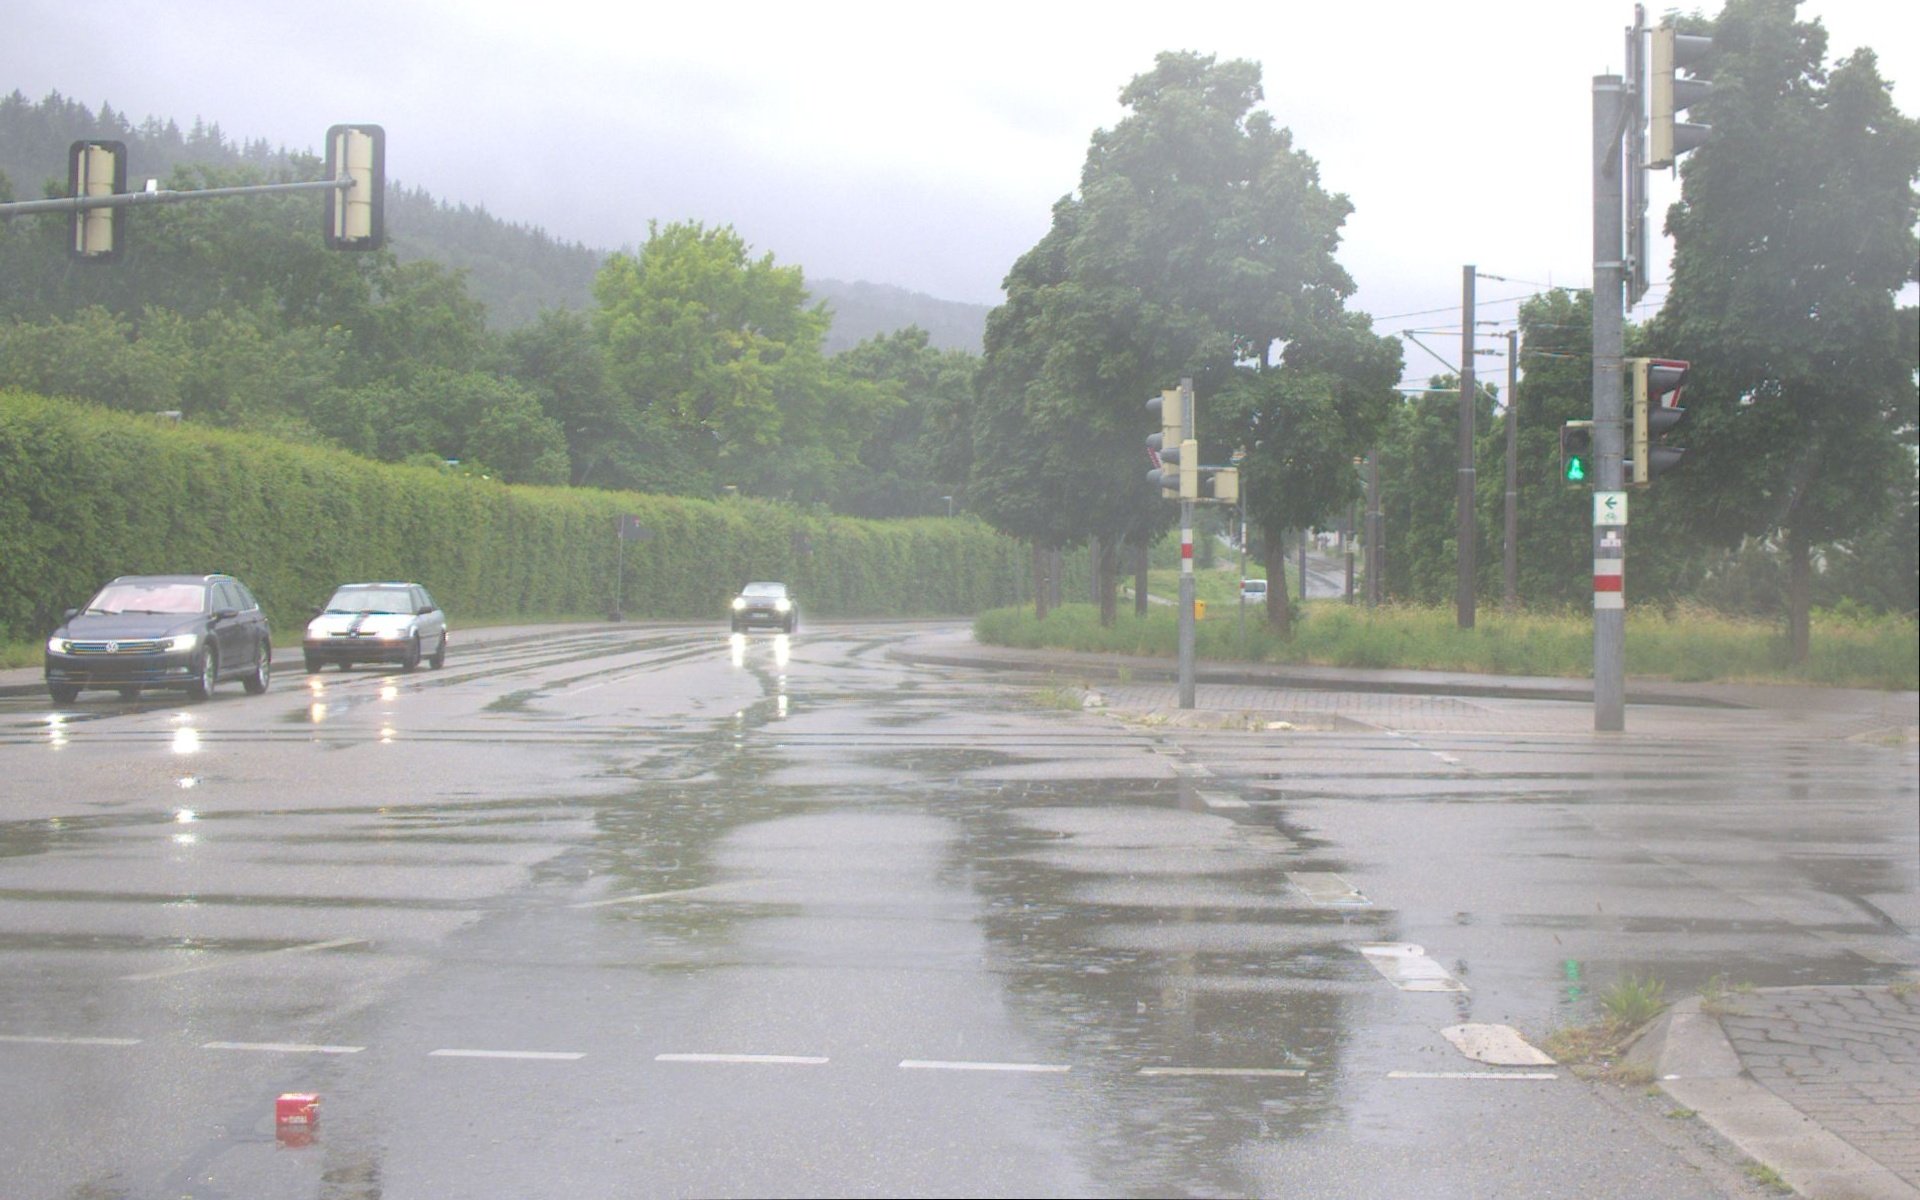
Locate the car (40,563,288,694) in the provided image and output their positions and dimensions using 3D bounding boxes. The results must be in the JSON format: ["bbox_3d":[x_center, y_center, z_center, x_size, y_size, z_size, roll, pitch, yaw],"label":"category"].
[{"bbox_3d":[-9.380,0.292,40.858,1.709,1.461,4.452,0,1,3],"label":"car"}]

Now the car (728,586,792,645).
[{"bbox_3d":[-6.046,0.450,104.251,1.784,1.499,4.062,3,2,-2],"label":"car"}]

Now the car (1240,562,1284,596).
[{"bbox_3d":[17.202,-1.189,195.534,1.954,1.897,4.118,0,1,13],"label":"car"}]

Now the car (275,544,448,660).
[{"bbox_3d":[-9.283,-0.001,53.613,2.036,1.702,4.066,1,1,-1],"label":"car"}]
